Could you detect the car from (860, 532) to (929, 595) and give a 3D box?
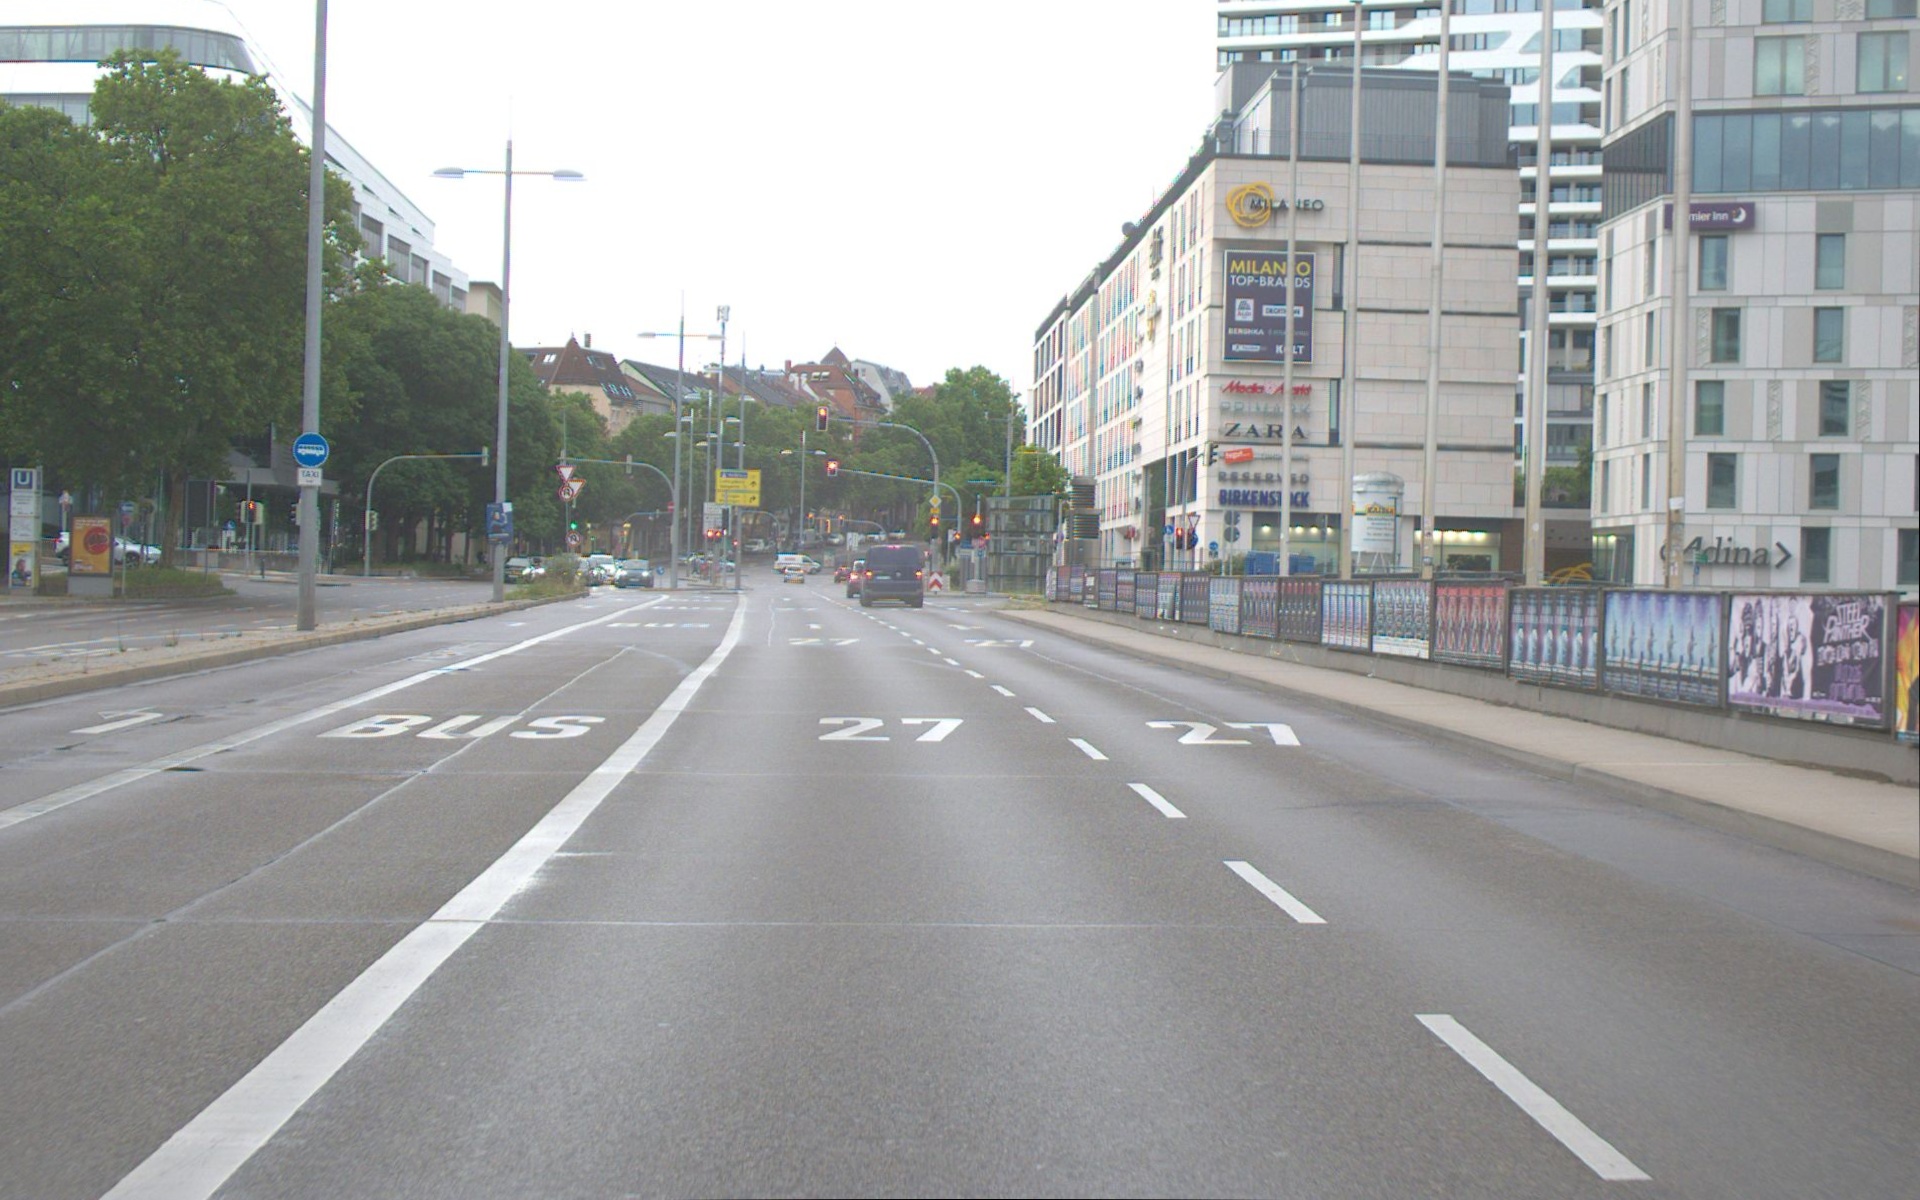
[{"bbox_3d":[-2.123,-1.202,110.656,2.033,1.875,5.042,-2,1,-2],"label":"car"}]

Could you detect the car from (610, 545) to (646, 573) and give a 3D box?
[{"bbox_3d":[-17.423,-2.154,180.529,1.743,1.439,3.395,1,0,-3],"label":"car"}]

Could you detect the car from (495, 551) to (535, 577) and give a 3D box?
[{"bbox_3d":[-23.414,-1.897,180.979,1.743,1.324,4.226,1,0,-3],"label":"car"}]

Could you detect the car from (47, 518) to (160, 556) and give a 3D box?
[{"bbox_3d":[-38.083,-2.813,152.893,4.504,1.626,1.893,0,0,13],"label":"car"}]

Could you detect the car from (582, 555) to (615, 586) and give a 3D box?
[{"bbox_3d":[-21.353,-1.732,202.952,1.743,1.742,3.540,1,0,-3],"label":"car"}]

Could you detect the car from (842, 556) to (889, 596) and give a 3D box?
[{"bbox_3d":[-3.721,-0.936,135.368,1.740,1.526,3.814,1,0,-3],"label":"car"}]
